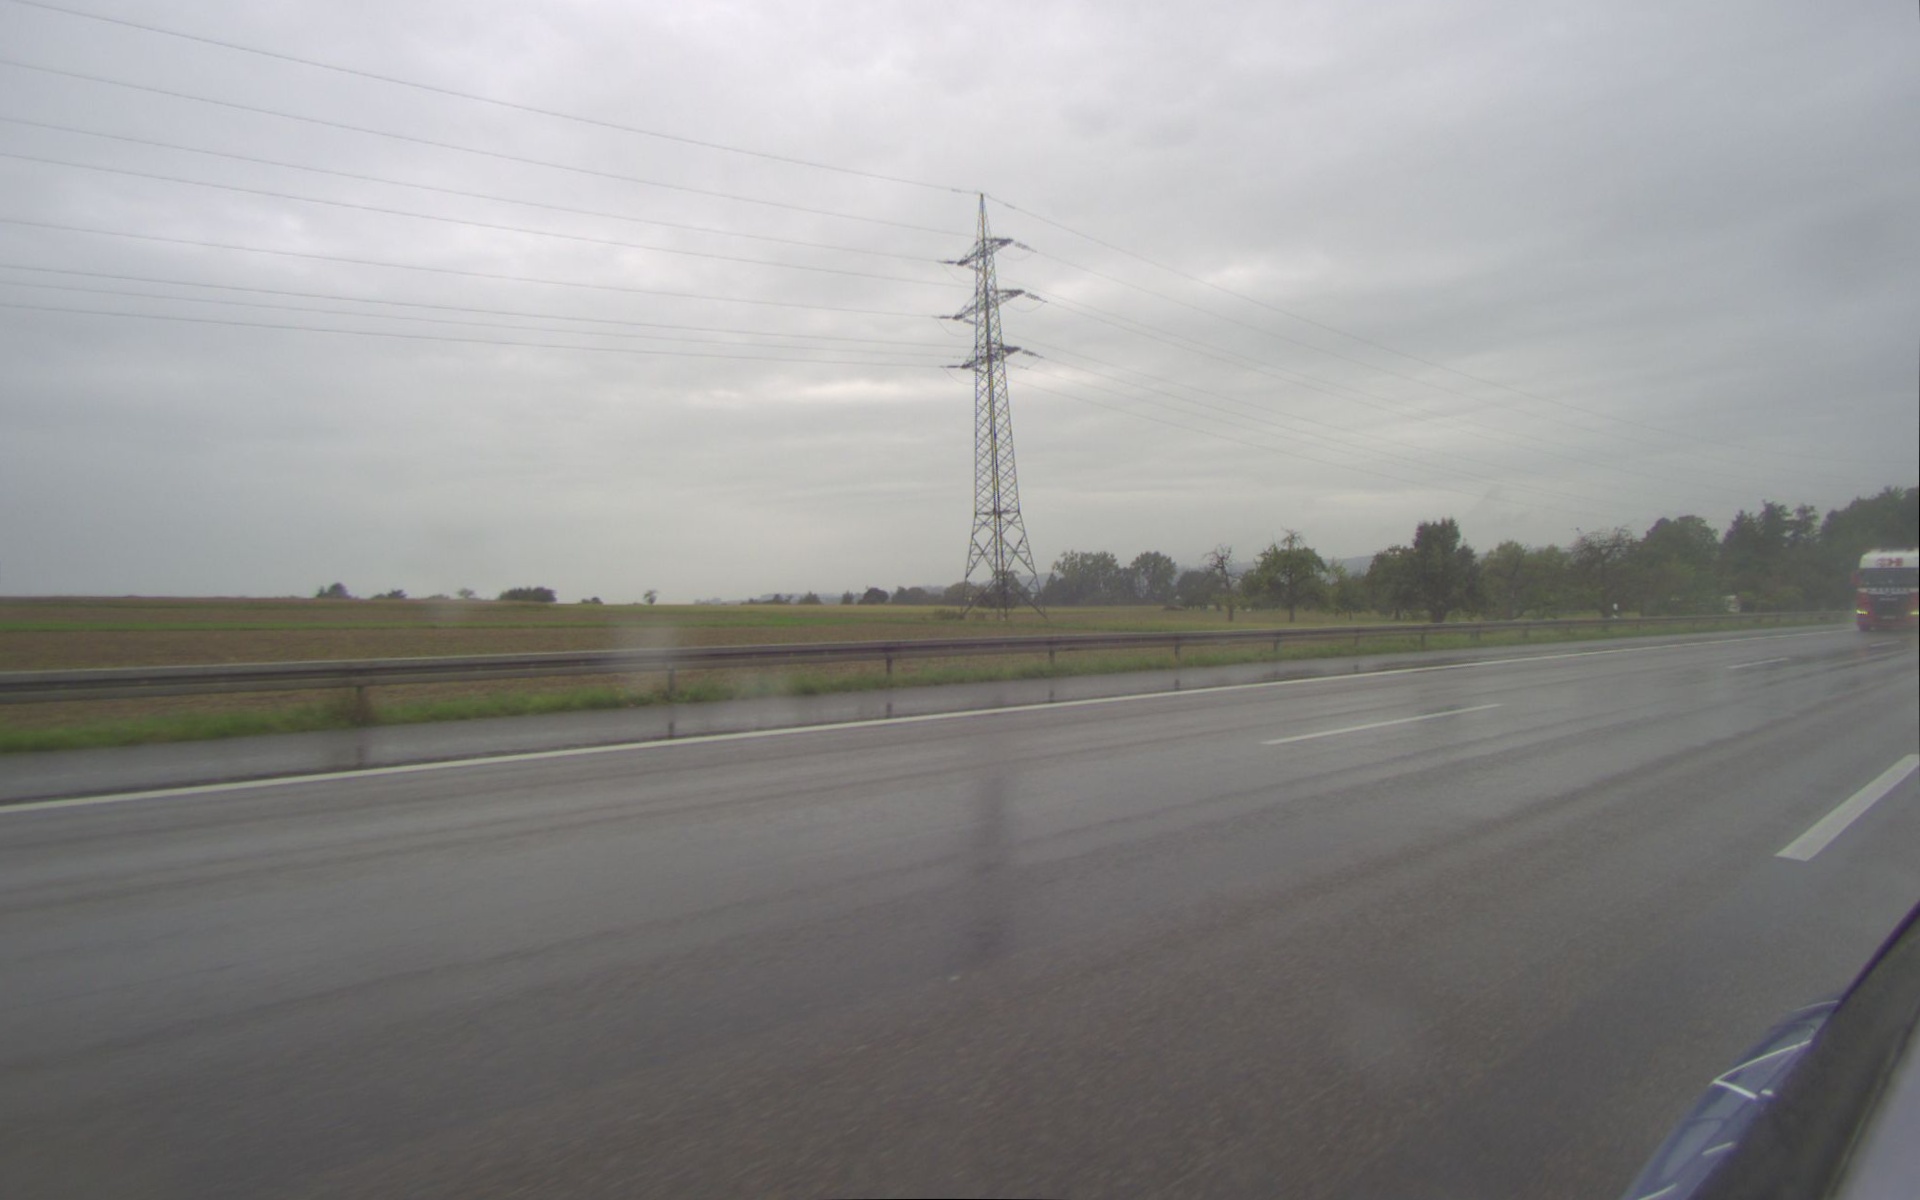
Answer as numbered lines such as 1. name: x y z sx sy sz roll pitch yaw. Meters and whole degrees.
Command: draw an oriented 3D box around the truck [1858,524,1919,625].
1. truck: 48.522 -1.244 51.246 11.204 4.728 3.133 -1 0 -41
